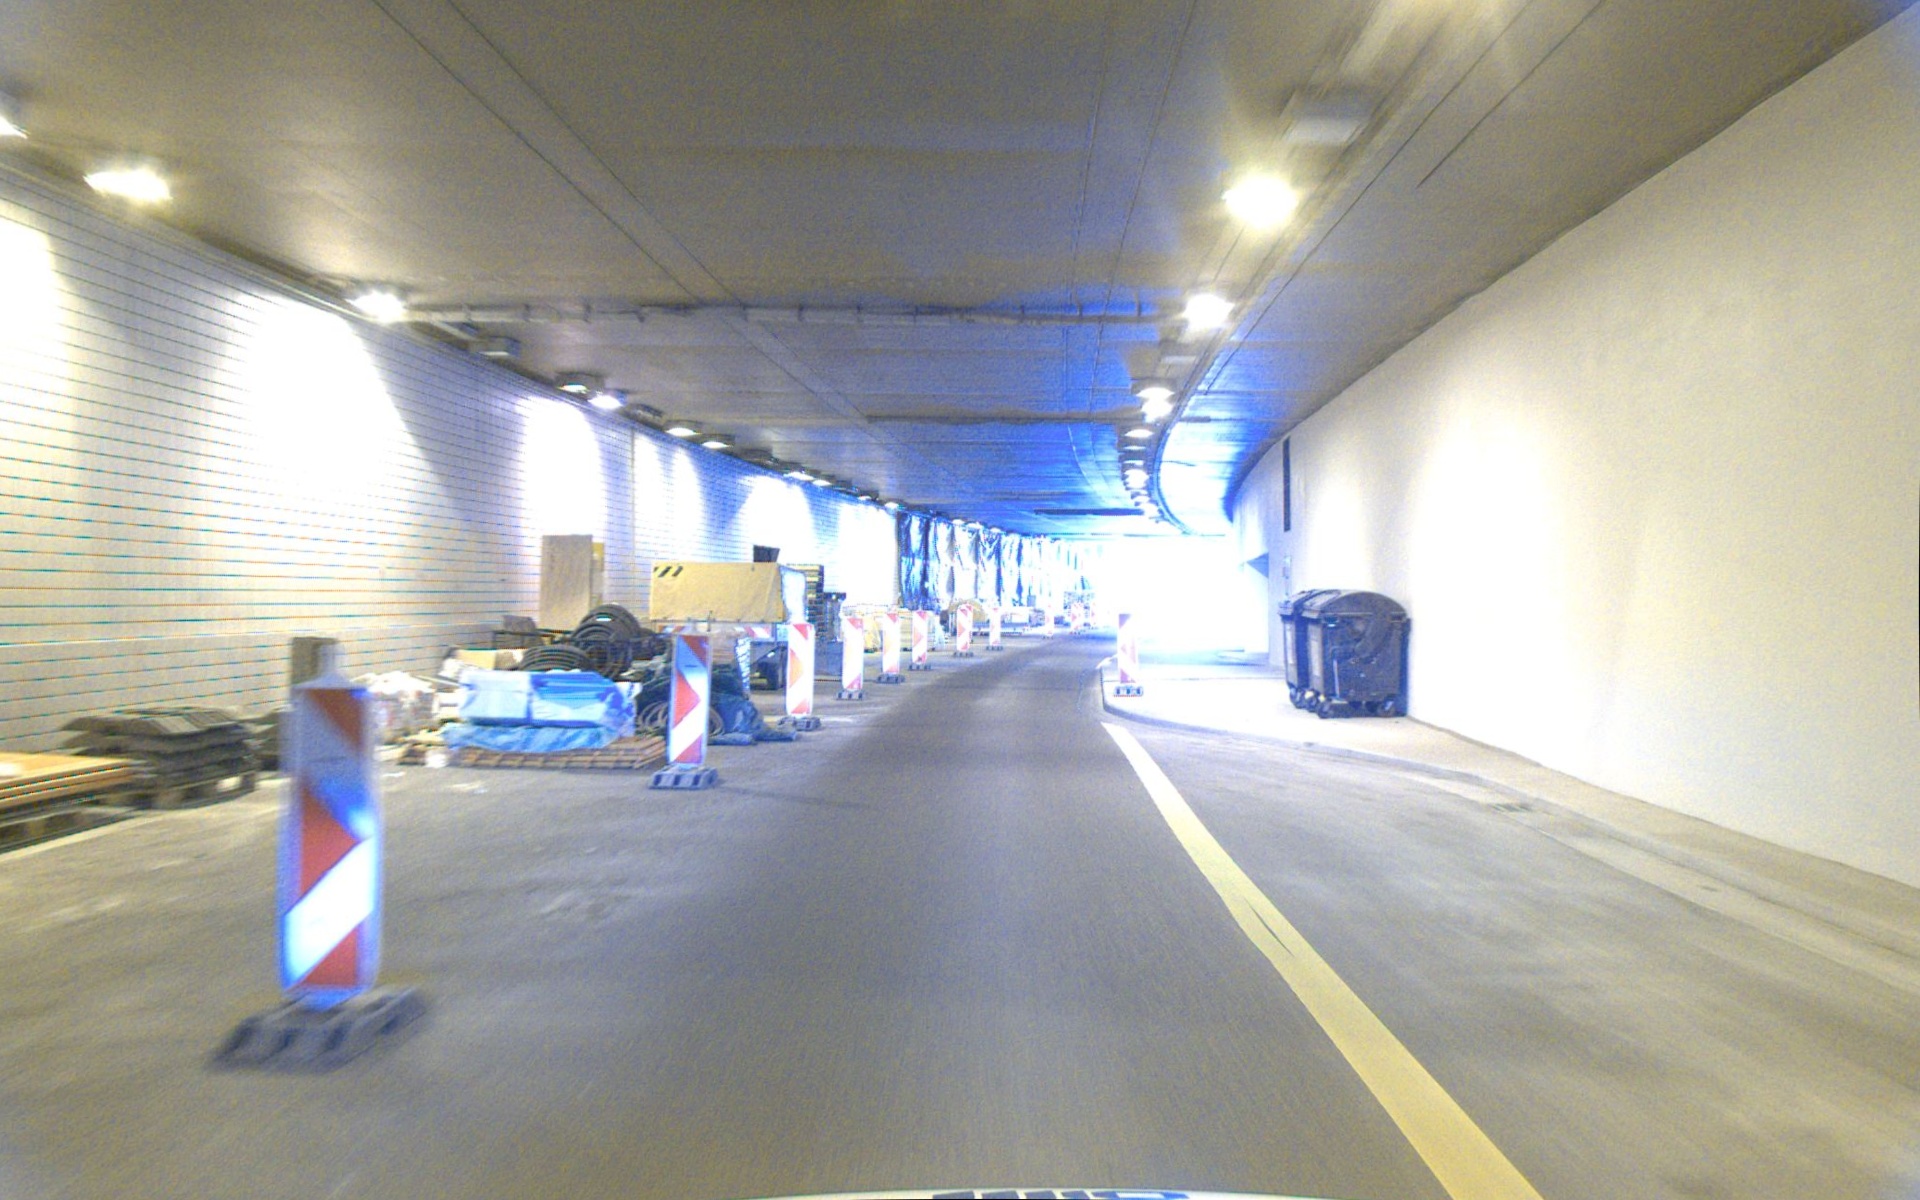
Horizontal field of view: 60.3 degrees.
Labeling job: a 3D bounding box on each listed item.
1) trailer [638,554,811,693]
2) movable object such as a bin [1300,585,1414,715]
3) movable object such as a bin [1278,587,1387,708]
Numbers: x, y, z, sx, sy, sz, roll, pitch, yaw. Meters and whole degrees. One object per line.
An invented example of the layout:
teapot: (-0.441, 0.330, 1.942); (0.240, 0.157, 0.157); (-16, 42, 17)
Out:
trailer: (-3.647, 0.360, 26.246); (2.162, 2.049, 3.466); (1, 0, 1)
movable object such as a bin: (4.680, 0.577, 19.600); (1.075, 1.470, 1.322); (1, -1, 2)
movable object such as a bin: (4.703, 0.587, 20.988); (1.121, 1.470, 1.364); (1, -1, 2)
